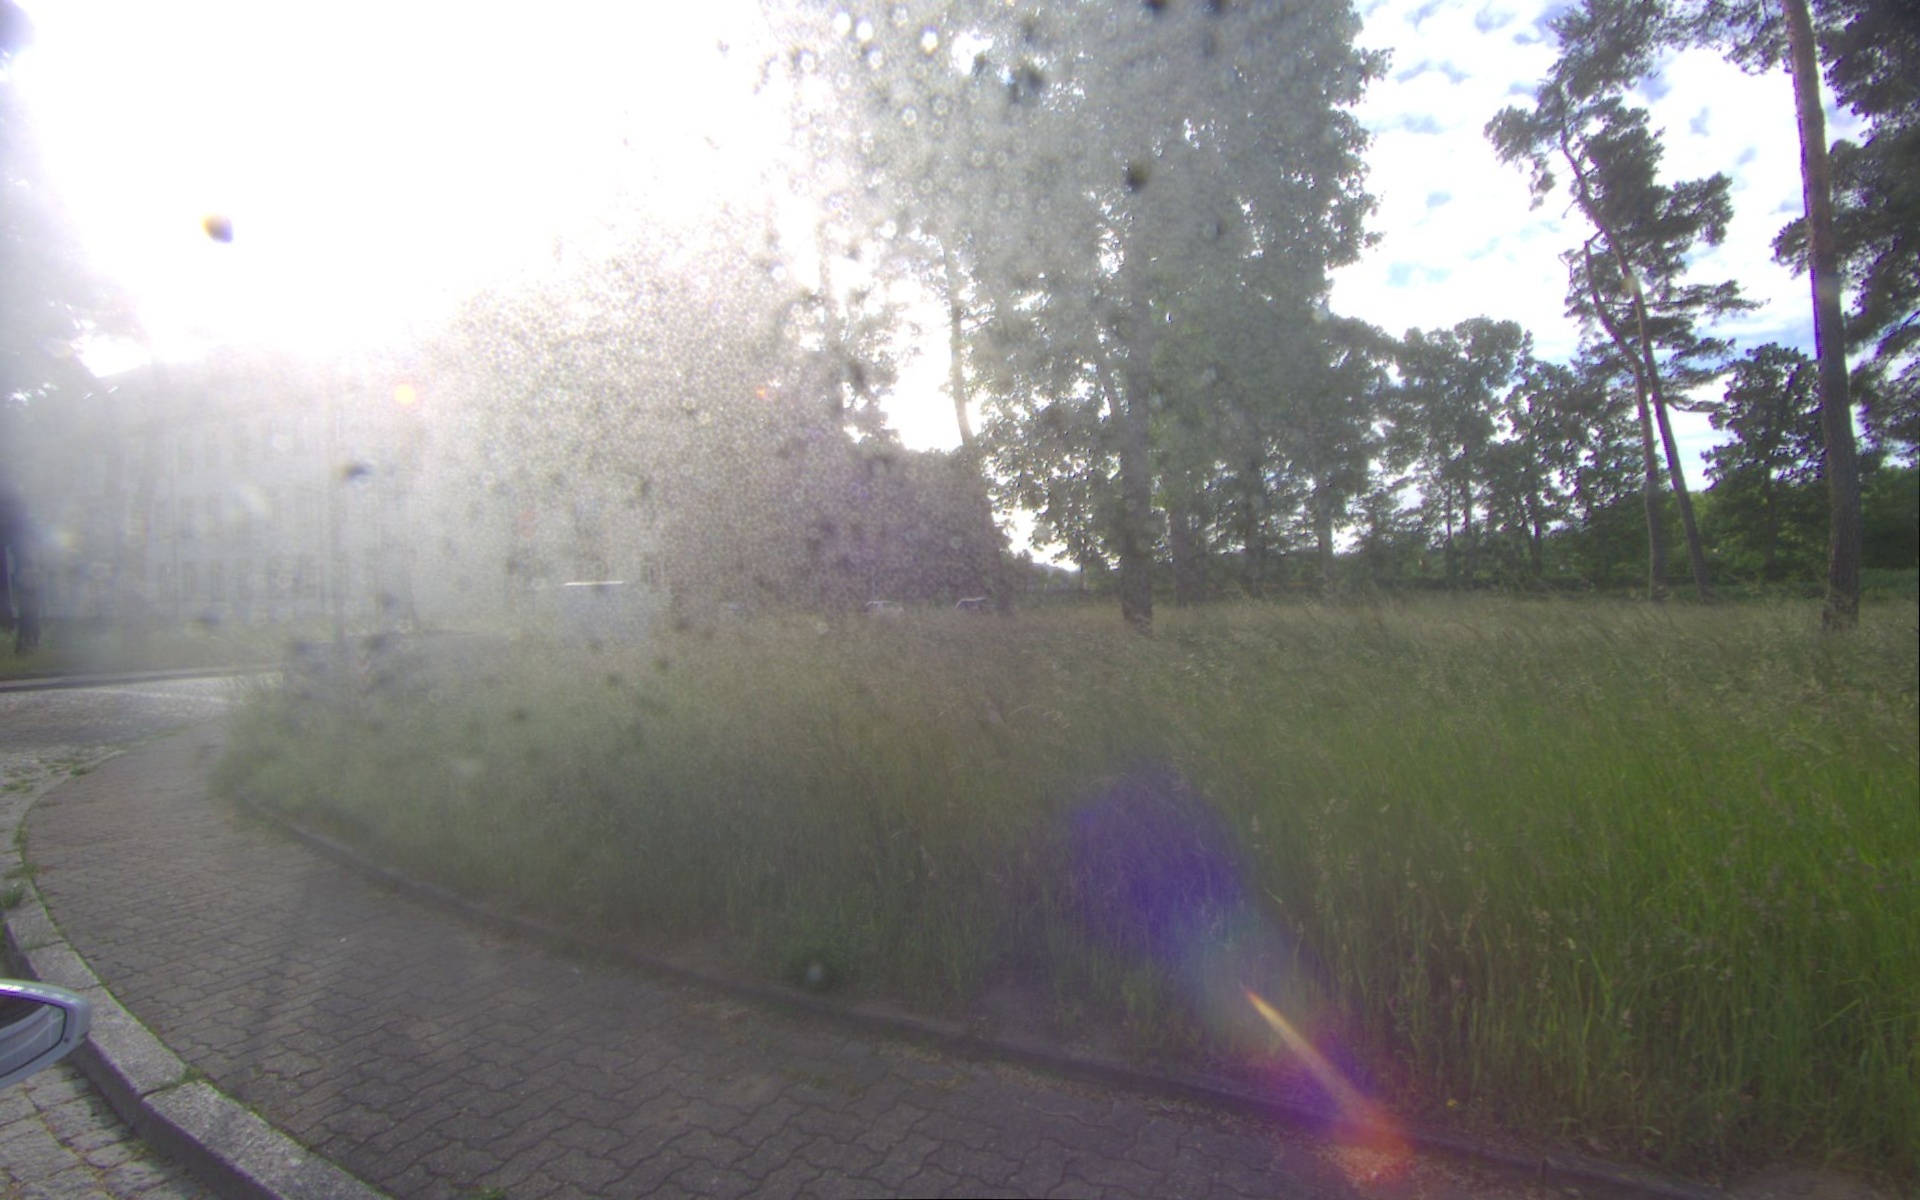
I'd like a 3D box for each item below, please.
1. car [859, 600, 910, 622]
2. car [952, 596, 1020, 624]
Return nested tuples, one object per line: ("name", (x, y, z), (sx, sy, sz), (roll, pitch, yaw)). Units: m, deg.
("car", (-5.062, 0.755, 67.519), (1.539, 1.416, 3.984), (-1, -2, 29))
("car", (1.584, 0.595, 62.502), (3.924, 1.622, 1.999), (-1, 1, -8))
